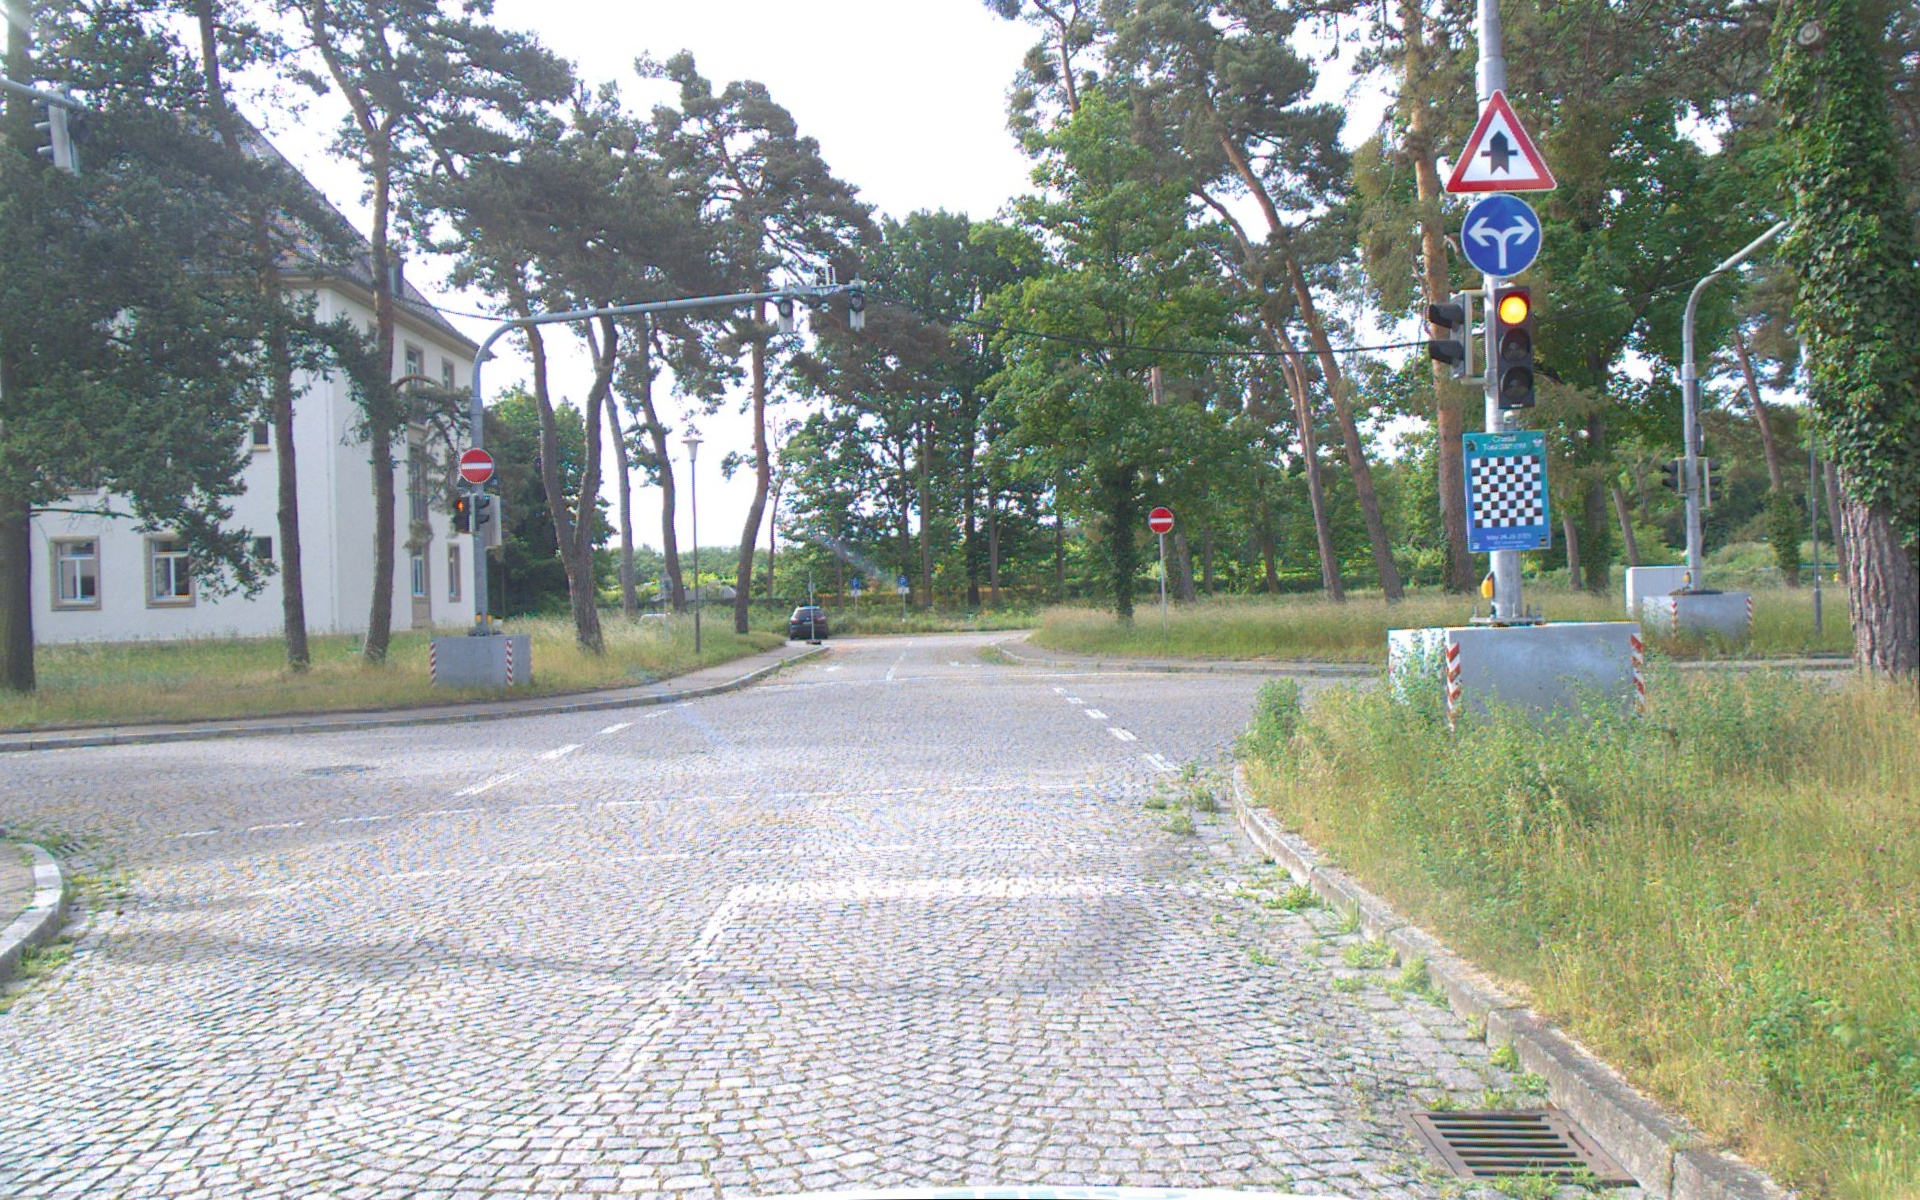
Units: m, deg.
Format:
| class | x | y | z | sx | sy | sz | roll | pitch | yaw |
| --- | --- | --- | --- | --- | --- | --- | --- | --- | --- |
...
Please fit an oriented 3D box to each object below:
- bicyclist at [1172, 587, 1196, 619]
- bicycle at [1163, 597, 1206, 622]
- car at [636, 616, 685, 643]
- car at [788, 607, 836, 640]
| class | x | y | z | sx | sy | sz | roll | pitch | yaw |
| --- | --- | --- | --- | --- | --- | --- | --- | --- | --- |
| bicyclist | 11.035 | 0.139 | 81.495 | 0.955 | 1.537 | 0.807 | -2 | 0 | -5 |
| bicycle | 11.051 | 0.462 | 81.480 | 1.948 | 1.114 | 0.809 | -2 | 0 | -5 |
| car | -14.558 | 1.413 | 80.541 | 1.654 | 1.176 | 4.000 | -2 | 0 | 0 |
| car | -7.100 | 1.116 | 79.719 | 1.953 | 1.534 | 4.000 | 0 | 0 | 0 |
